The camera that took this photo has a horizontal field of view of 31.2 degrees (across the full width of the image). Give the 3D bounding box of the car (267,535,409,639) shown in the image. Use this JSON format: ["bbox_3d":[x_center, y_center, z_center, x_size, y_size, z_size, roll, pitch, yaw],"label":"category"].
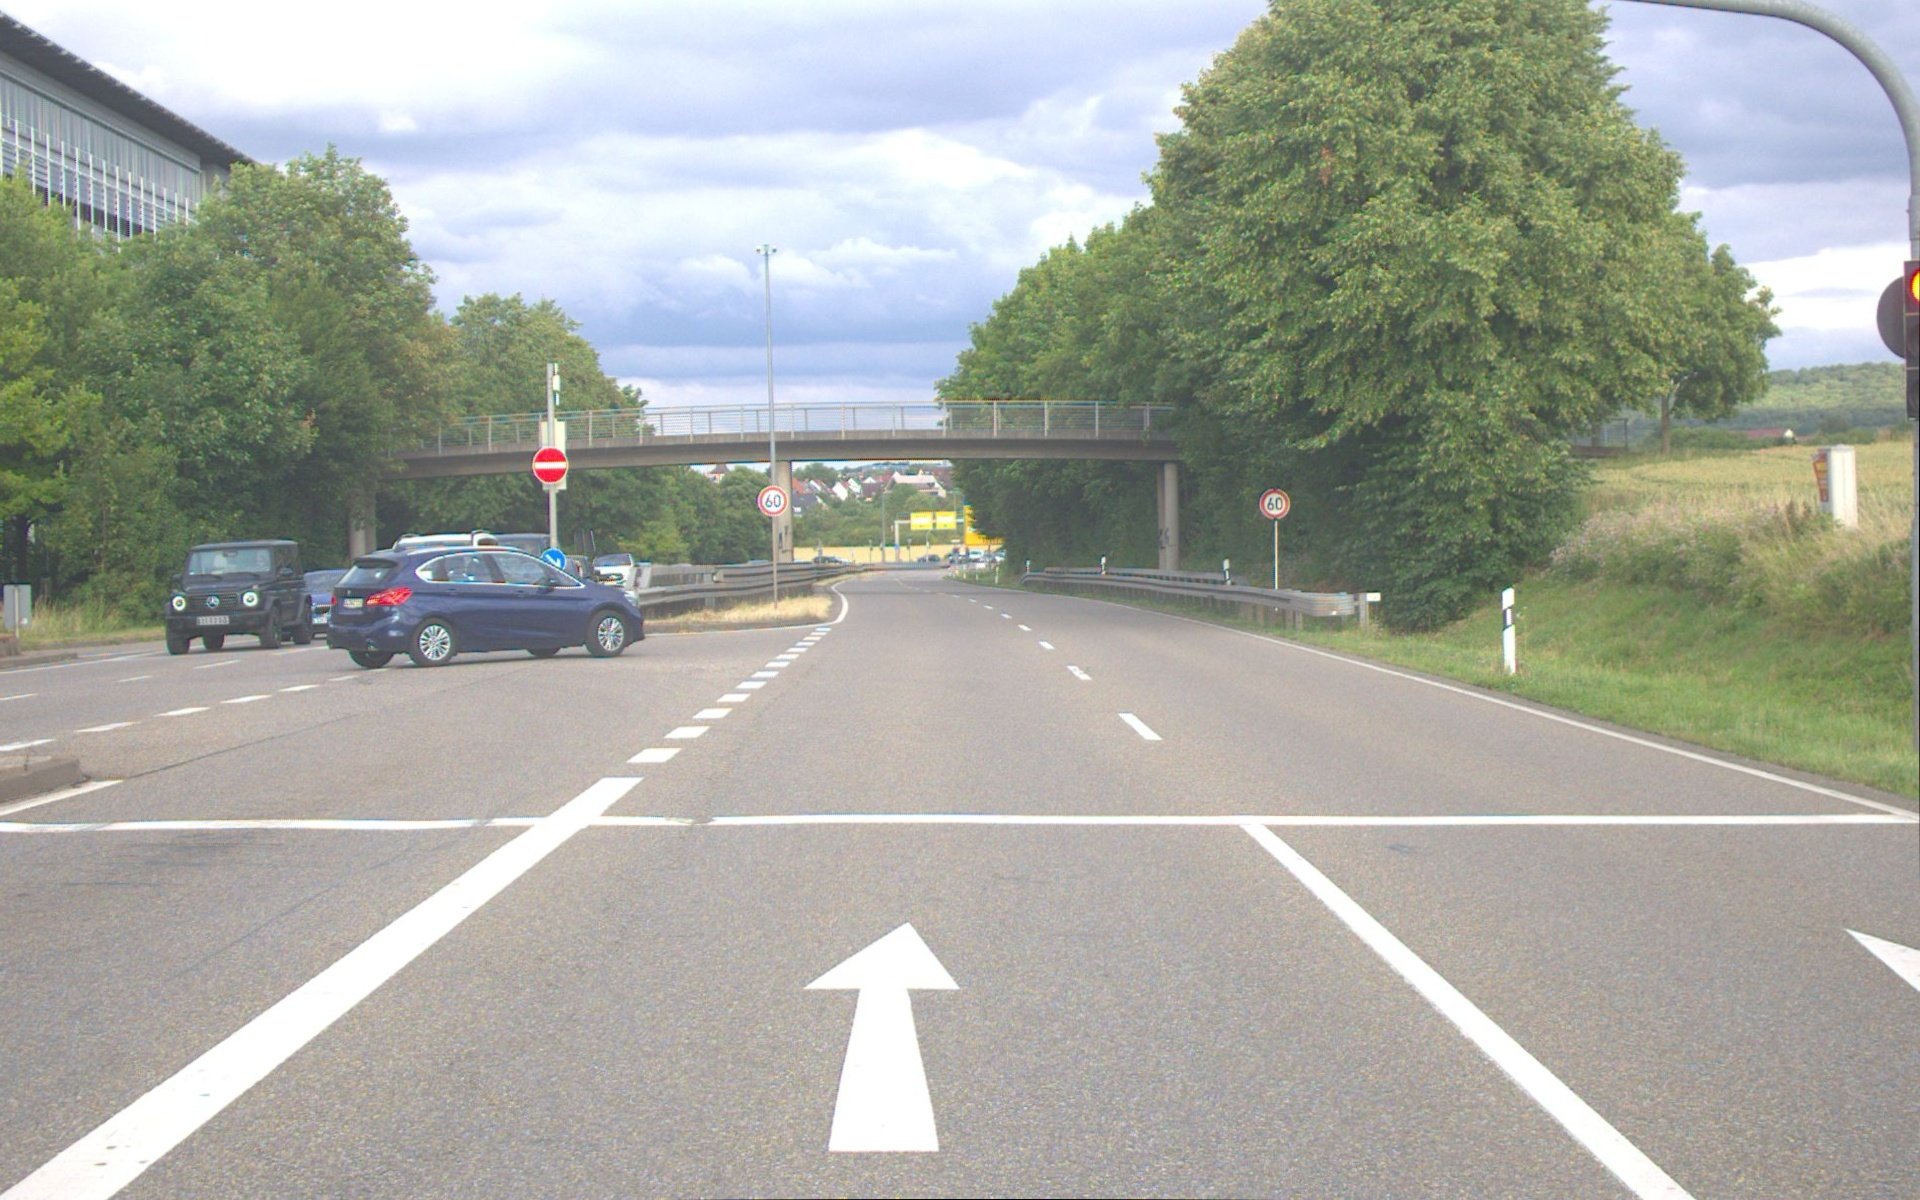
[{"bbox_3d":[-12.650,-0.276,70.197,2.083,2.007,5.217,1,1,-2],"label":"car"}]

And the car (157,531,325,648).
[{"bbox_3d":[-13.044,-0.209,62.698,2.083,2.007,5.217,1,1,-2],"label":"car"}]

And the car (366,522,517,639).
[{"bbox_3d":[-9.410,-0.367,62.795,2.083,2.007,5.217,1,1,-2],"label":"car"}]

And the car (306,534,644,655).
[{"bbox_3d":[-6.415,-0.071,45.592,3.987,1.547,1.886,0,1,-34],"label":"car"}]
